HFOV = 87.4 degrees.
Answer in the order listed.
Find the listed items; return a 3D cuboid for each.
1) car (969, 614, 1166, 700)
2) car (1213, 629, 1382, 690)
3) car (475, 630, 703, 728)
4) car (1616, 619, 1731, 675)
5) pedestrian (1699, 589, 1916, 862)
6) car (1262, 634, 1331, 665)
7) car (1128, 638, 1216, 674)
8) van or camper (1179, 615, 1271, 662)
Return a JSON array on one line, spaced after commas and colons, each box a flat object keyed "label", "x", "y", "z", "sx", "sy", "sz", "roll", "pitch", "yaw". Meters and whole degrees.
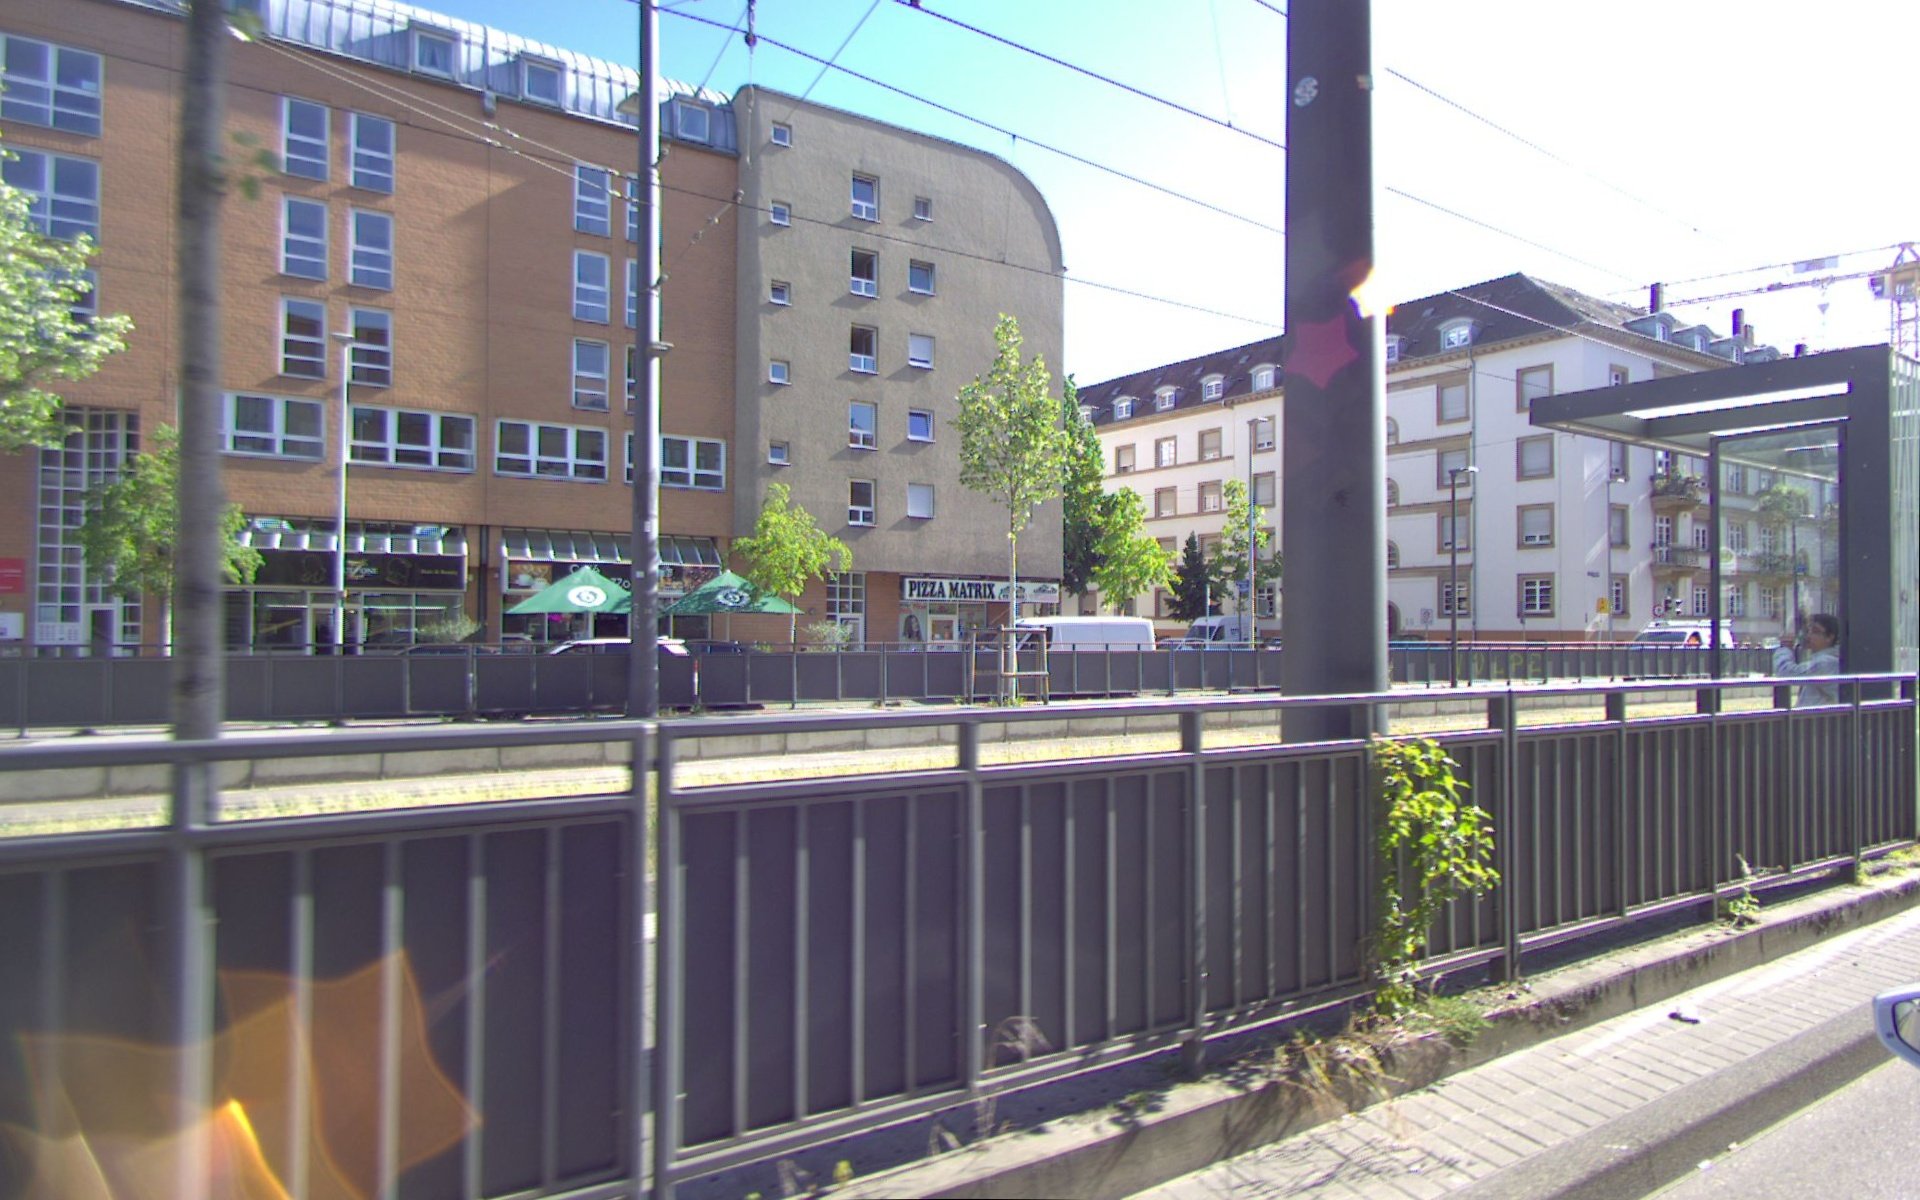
[{"label": "car", "x": 3.205, "y": 1.639, "z": 29.838, "sx": 5.564, "sy": 2.401, "sz": 1.989, "roll": 1, "pitch": -1, "yaw": -23}, {"label": "car", "x": 8.063, "y": 1.394, "z": 23.935, "sx": 3.916, "sy": 1.303, "sz": 1.686, "roll": 2, "pitch": -1, "yaw": -31}, {"label": "car", "x": -7.360, "y": 1.508, "z": 19.985, "sx": 3.954, "sy": 1.706, "sz": 1.984, "roll": 2, "pitch": -1, "yaw": -31}, {"label": "car", "x": 24.881, "y": 1.641, "z": 35.003, "sx": 4.043, "sy": 1.818, "sz": 1.810, "roll": 2, "pitch": -1, "yaw": -31}, {"label": "pedestrian", "x": 5.292, "y": 0.730, "z": 6.295, "sx": 0.788, "sy": 1.557, "sz": 0.809, "roll": 1, "pitch": -1, "yaw": -28}, {"label": "car", "x": 17.122, "y": 2.496, "z": 51.045, "sx": 3.635, "sy": 1.542, "sz": 1.672, "roll": 2, "pitch": -2, "yaw": -40}, {"label": "car", "x": 9.067, "y": 2.343, "z": 42.745, "sx": 3.973, "sy": 1.470, "sz": 1.762, "roll": 2, "pitch": -2, "yaw": -44}, {"label": "van or camper", "x": 14.579, "y": 2.105, "z": 55.126, "sx": 5.911, "sy": 2.432, "sz": 1.976, "roll": 2, "pitch": -2, "yaw": -42}]
